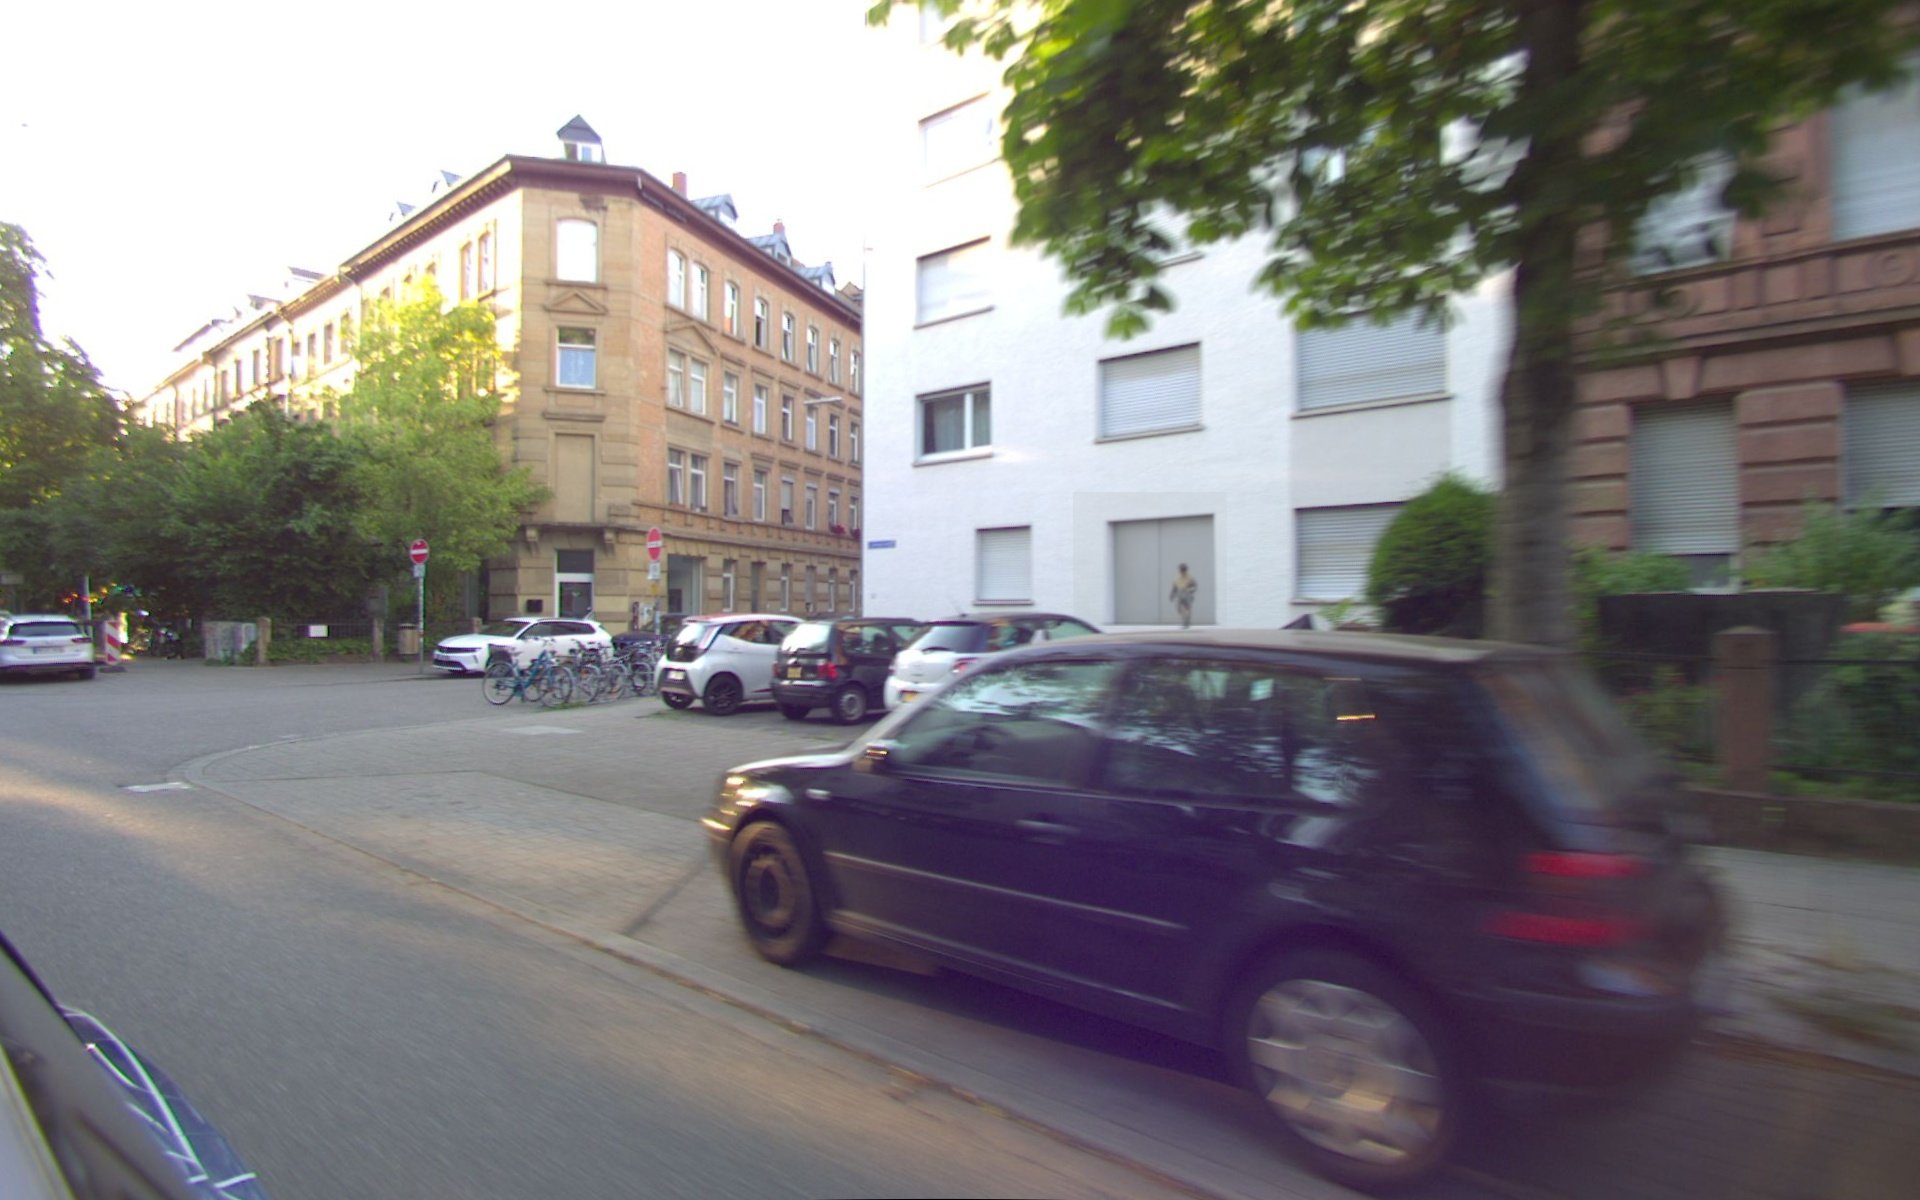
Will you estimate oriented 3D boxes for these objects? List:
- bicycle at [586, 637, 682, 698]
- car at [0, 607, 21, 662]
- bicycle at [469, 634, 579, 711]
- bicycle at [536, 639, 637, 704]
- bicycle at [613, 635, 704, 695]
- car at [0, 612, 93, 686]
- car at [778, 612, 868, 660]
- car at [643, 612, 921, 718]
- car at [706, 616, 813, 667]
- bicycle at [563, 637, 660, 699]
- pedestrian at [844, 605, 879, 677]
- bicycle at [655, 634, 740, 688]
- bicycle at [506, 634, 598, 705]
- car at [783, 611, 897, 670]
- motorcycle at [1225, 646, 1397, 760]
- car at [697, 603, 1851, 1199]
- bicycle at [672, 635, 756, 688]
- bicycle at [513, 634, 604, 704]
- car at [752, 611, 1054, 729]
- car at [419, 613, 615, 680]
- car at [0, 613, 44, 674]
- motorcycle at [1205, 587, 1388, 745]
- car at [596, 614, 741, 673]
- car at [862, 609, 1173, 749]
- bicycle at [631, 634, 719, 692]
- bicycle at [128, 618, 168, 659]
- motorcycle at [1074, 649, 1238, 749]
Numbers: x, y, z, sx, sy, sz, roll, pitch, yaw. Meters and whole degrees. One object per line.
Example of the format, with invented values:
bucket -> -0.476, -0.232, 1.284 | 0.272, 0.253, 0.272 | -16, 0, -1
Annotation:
bicycle -> -6.242, 1.276, 19.373 | 1.834, 1.117, 0.365 | 0, -1, 15
car -> -29.873, 1.064, 30.597 | 4.399, 1.575, 1.672 | -1, 1, 41
bicycle -> -7.276, 1.194, 16.872 | 1.860, 1.190, 0.336 | 1, -1, 15
bicycle -> -6.744, 1.274, 18.256 | 1.834, 1.117, 0.365 | 0, -1, 15
bicycle -> -6.058, 1.295, 20.332 | 1.834, 1.161, 0.365 | 0, -1, 15
car -> -21.823, 1.091, 23.525 | 4.733, 1.513, 1.673 | -1, 1, 39
car -> -5.163, 1.342, 38.556 | 1.697, 1.659, 3.846 | 2, -1, 22
car -> -2.739, 0.942, 16.090 | 4.041, 1.458, 1.712 | 0, -2, -40
car -> -6.745, 1.364, 34.438 | 1.698, 1.564, 3.846 | 2, -1, 22
bicycle -> -6.557, 1.268, 19.018 | 1.834, 1.117, 0.365 | 0, -1, 15
pedestrian -> -2.509, 1.036, 25.710 | 0.619, 1.778, 0.499 | -4, -2, 19
bicycle -> -5.616, 1.297, 21.654 | 1.834, 1.125, 0.365 | 0, -1, 15
bicycle -> -7.044, 1.185, 17.478 | 1.664, 1.190, 0.242 | 0, -1, 15
car -> -3.289, 1.085, 28.395 | 1.785, 1.484, 3.692 | 2, 0, 18
motorcycle -> 3.572, 0.985, 10.181 | 2.208, 0.965, 0.588 | 0, -1, -40
car -> 0.757, 0.783, 3.906 | 3.962, 1.482, 1.598 | -1, -1, 44
bicycle -> -5.377, 1.336, 22.115 | 1.834, 1.125, 0.365 | 0, -1, 15
bicycle -> -7.045, 1.194, 17.751 | 1.664, 1.190, 0.242 | 0, -1, 15
car -> -0.736, 0.911, 14.569 | 4.040, 1.458, 1.821 | 0, -2, -39
car -> -11.150, 1.155, 25.790 | 1.703, 1.564, 4.419 | -2, -2, 31
car -> -26.260, 1.147, 27.338 | 4.399, 1.513, 1.672 | 0, 2, 41
motorcycle -> 3.985, 0.712, 11.809 | 2.817, 1.651, 0.676 | 1, -1, -41
car -> -8.523, 1.254, 29.926 | 1.702, 1.564, 4.065 | 2, -1, 29
car -> 0.773, 0.860, 12.404 | 3.519, 1.458, 1.820 | 0, -2, -40
bicycle -> -5.892, 1.282, 20.913 | 1.834, 1.161, 0.365 | 0, -1, 15
bicycle -> -26.702, 1.250, 33.311 | 0.597, 1.294, 2.493 | 1, -2, -29
motorcycle -> 2.299, 1.097, 11.669 | 2.208, 0.965, 0.588 | 0, -1, -40
